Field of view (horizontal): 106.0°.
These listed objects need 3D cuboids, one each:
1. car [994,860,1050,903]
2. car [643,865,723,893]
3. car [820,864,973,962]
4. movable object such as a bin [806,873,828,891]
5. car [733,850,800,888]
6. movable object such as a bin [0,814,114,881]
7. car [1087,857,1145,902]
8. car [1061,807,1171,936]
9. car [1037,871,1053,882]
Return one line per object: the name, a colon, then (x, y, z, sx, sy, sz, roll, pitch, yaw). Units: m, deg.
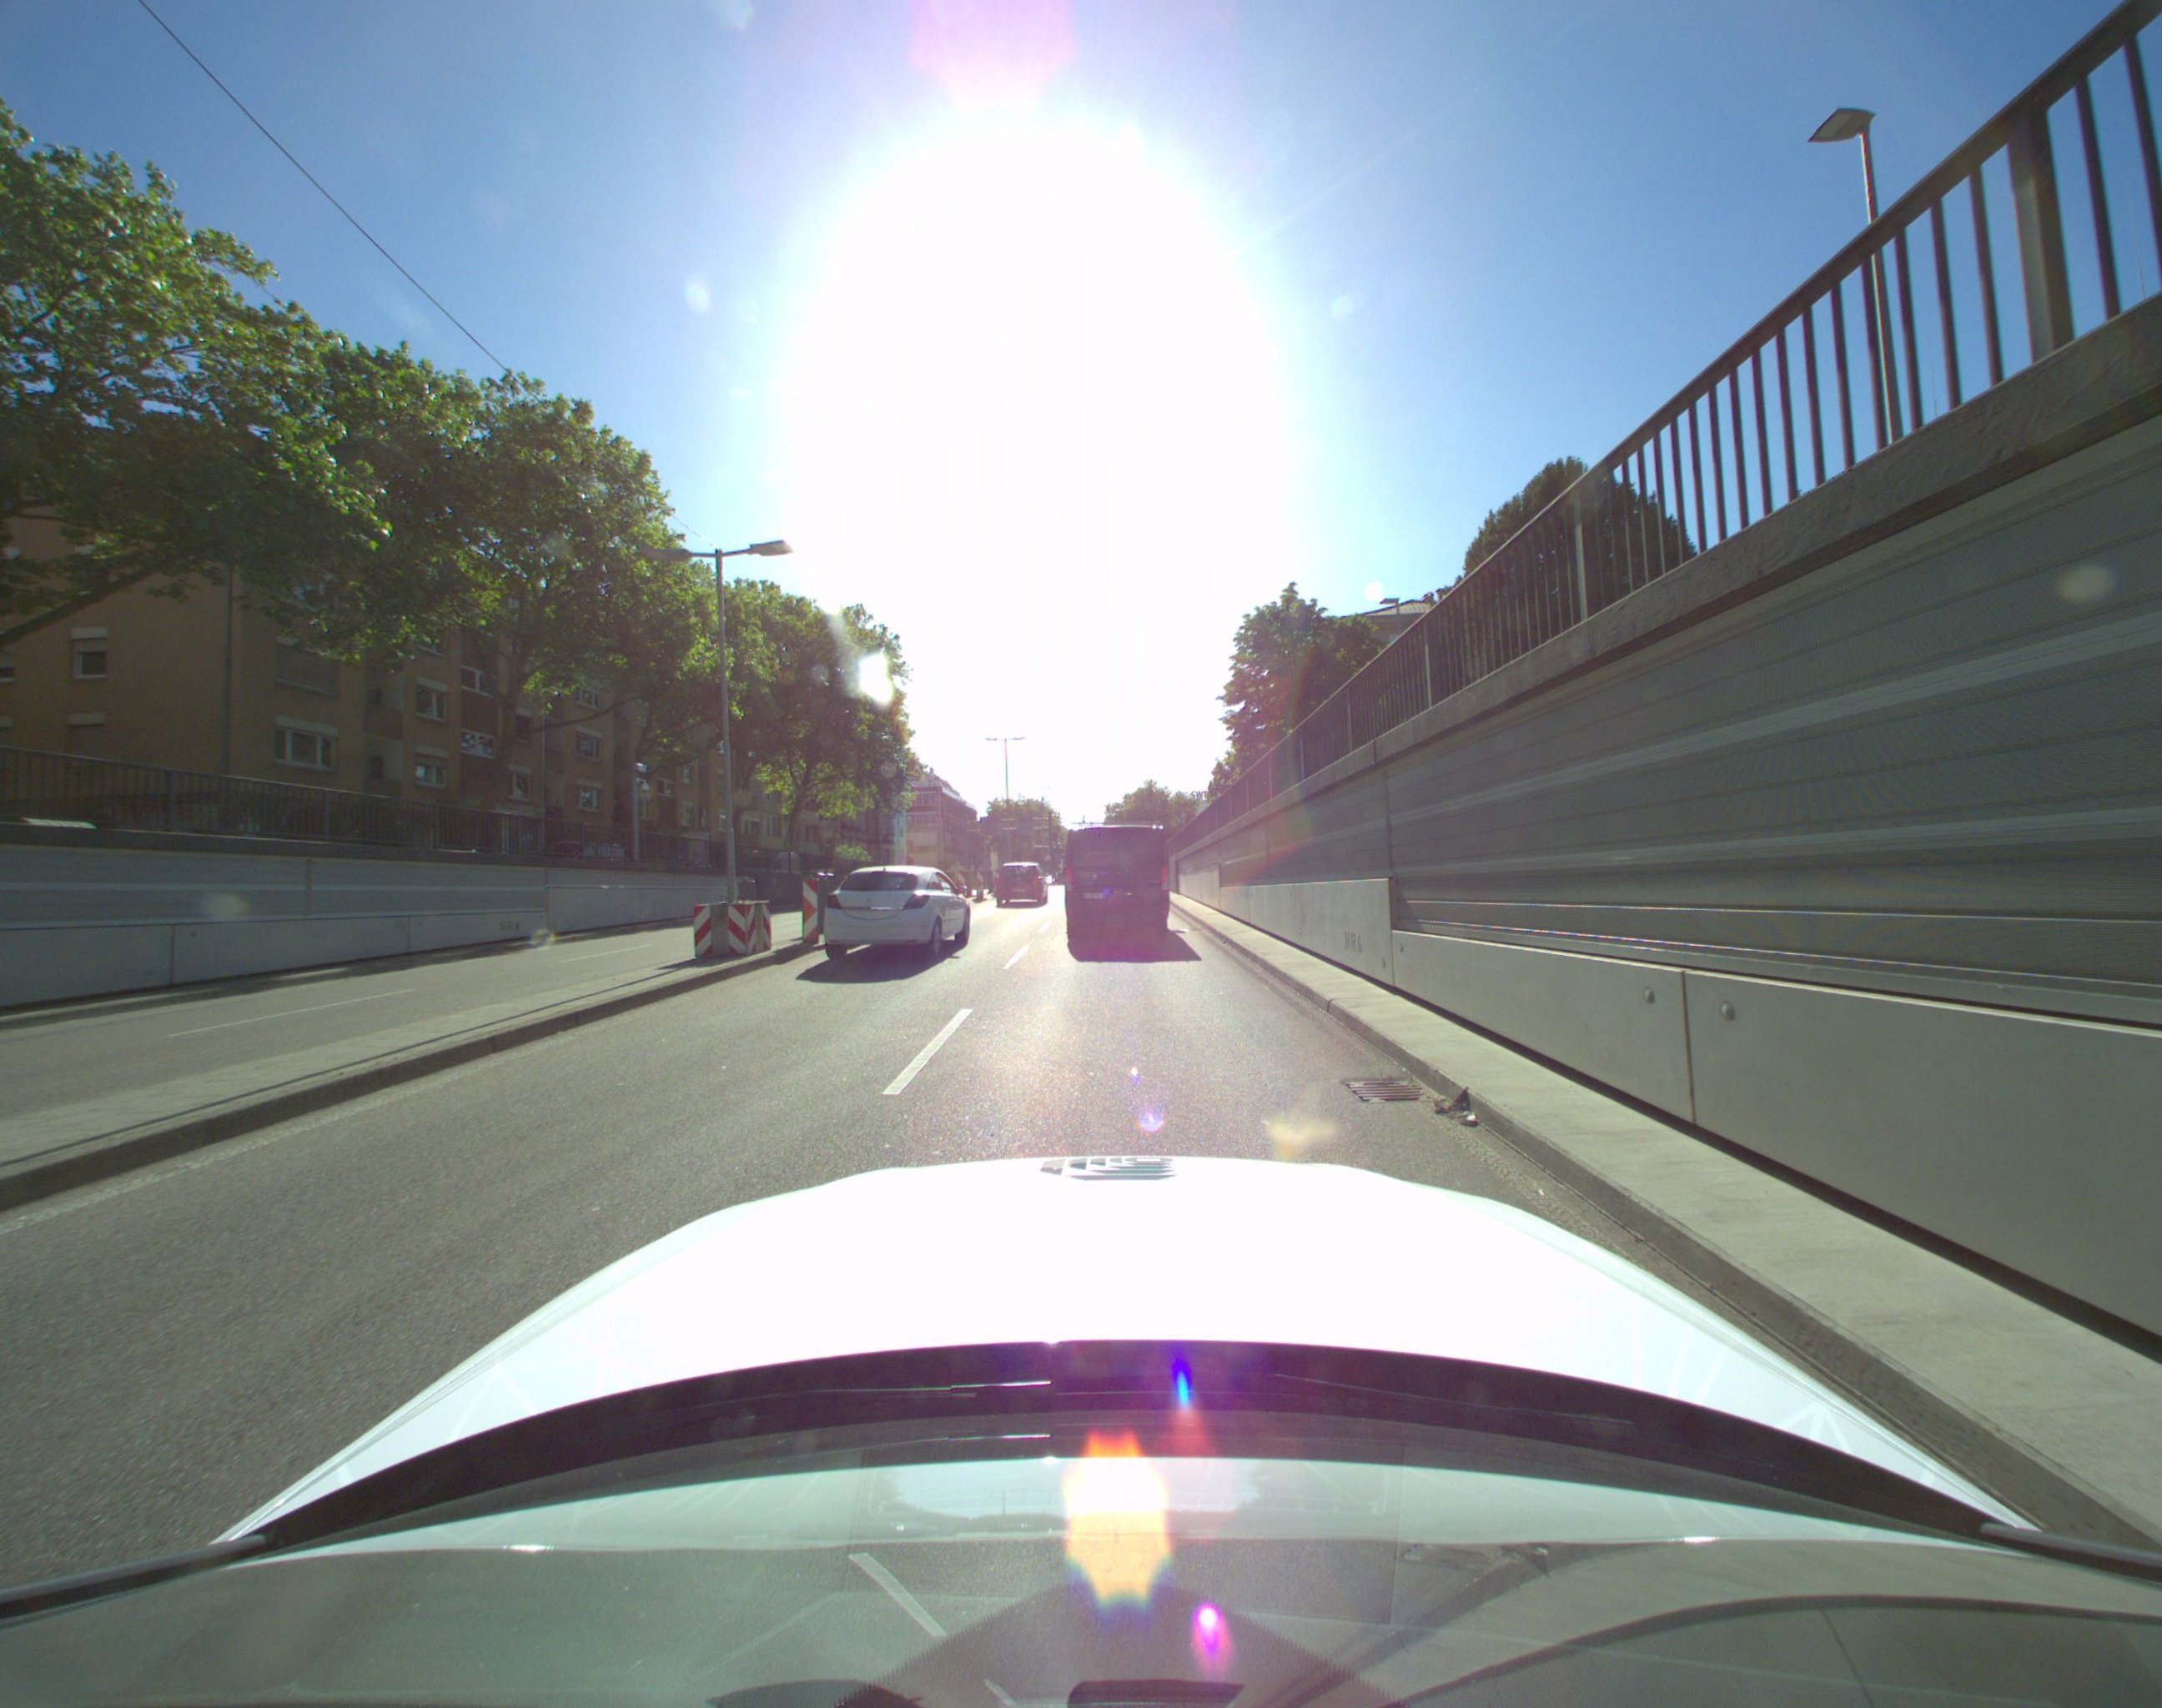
car: (-2.088, 0.966, 29.547, 1.683, 1.483, 3.319, 0, -1, 1)
car: (-20.662, 1.318, 42.509, 1.986, 1.389, 4.173, 0, -2, 2)
car: (-2.933, 0.882, 13.737, 1.613, 1.403, 3.853, 0, -1, 2)
movable object such as a bin: (-21.114, 2.236, 65.099, 1.274, 1.402, 1.302, 0, -2, 2)
car: (-20.274, 1.011, 52.816, 1.985, 2.360, 5.422, 0, -2, 3)
movable object such as a bin: (-23.909, -0.128, 18.922, 1.204, 1.484, 1.355, 0, -2, -6)
car: (1.245, 0.856, 28.827, 1.884, 1.475, 3.993, 0, 0, 3)
car: (0.730, 0.367, 17.373, 2.022, 2.402, 3.974, -1, -1, 2)
car: (-4.352, 2.728, 98.961, 1.533, 1.300, 3.928, -4, -1, 1)
